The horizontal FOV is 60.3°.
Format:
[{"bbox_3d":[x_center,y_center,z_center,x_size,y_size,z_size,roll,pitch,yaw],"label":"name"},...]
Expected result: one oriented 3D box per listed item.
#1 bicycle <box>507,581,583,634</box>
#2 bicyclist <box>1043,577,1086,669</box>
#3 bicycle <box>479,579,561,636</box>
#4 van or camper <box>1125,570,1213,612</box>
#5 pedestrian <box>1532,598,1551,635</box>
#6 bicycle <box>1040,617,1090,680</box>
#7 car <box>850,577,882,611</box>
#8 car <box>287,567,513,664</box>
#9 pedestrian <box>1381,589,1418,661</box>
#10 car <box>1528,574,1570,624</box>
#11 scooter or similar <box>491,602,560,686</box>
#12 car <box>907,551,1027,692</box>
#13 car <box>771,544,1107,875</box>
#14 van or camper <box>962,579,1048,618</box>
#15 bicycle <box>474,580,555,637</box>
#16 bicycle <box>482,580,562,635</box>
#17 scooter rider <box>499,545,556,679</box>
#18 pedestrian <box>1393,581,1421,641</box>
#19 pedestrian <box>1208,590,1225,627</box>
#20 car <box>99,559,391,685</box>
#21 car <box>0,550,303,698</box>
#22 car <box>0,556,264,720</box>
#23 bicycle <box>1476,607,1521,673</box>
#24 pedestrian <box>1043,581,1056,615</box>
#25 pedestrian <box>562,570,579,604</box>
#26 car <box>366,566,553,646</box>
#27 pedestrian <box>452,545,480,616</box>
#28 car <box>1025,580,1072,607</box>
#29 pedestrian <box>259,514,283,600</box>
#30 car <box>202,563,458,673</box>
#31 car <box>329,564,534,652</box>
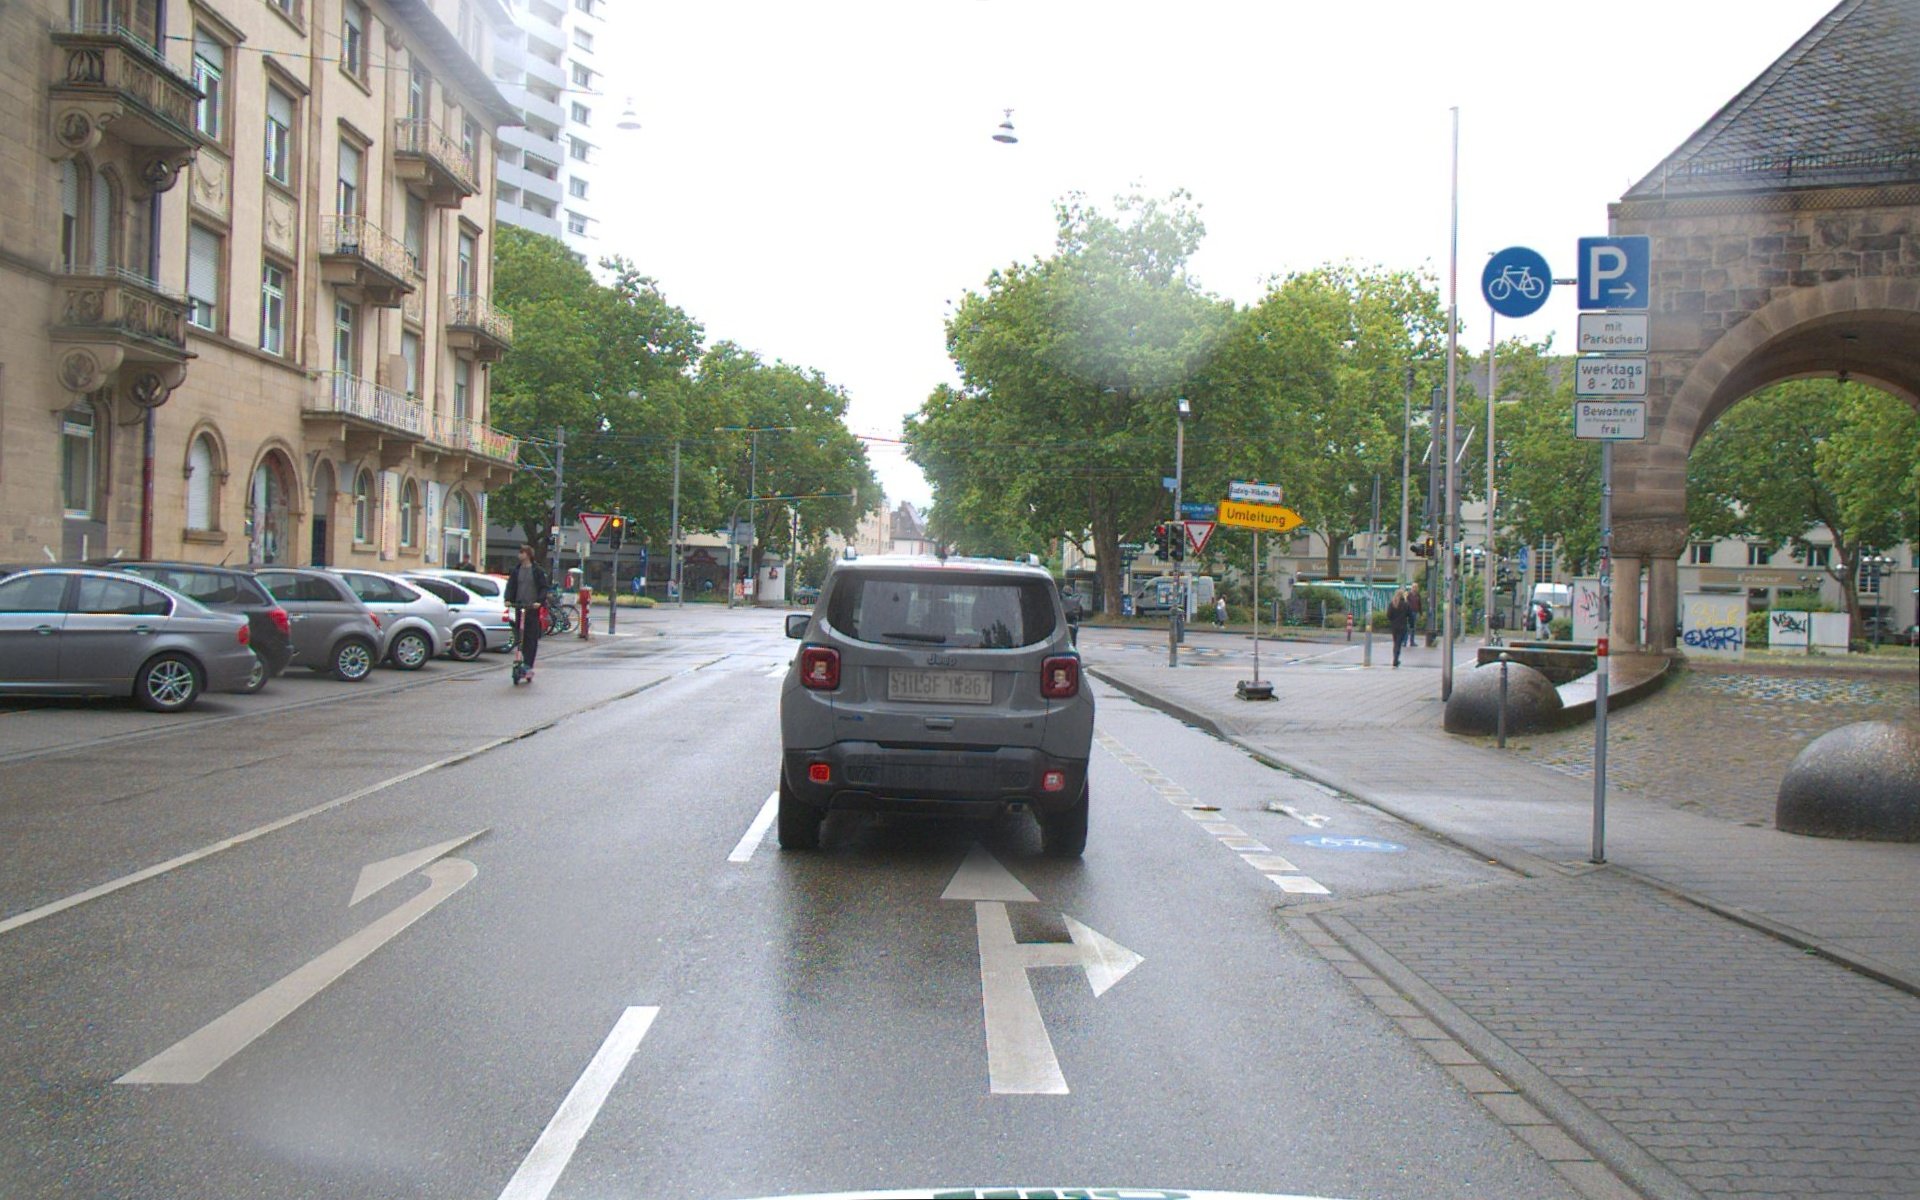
[{"bbox_3d":[-10.450,0.185,41.666,1.728,1.288,0.608,1,0,-2],"label":"bicycle"},{"bbox_3d":[1.886,0.403,29.940,0.673,1.645,0.883,0,0,-2],"label":"bicyclist"},{"bbox_3d":[-10.390,0.175,39.076,1.774,1.288,0.498,1,0,-2],"label":"bicycle"},{"bbox_3d":[12.796,-0.566,101.437,5.149,2.355,2.091,2,1,3],"label":"van or camper"},{"bbox_3d":[25.092,0.715,71.367,0.660,1.581,0.761,2,-1,28],"label":"pedestrian"},{"bbox_3d":[1.882,0.851,30.009,0.678,1.039,2.657,0,1,-1],"label":"bicycle"},{"bbox_3d":[-5.216,-0.350,91.214,1.687,1.769,3.727,1,1,-4],"label":"car"},{"bbox_3d":[-9.776,0.262,28.944,3.370,1.585,1.682,1,1,-40],"label":"car"},{"bbox_3d":[10.345,0.575,38.916,0.767,1.674,0.655,1,0,22],"label":"pedestrian"},{"bbox_3d":[32.259,-0.067,90.513,1.868,2.600,4.785,1,0,23],"label":"car"},{"bbox_3d":[-6.441,0.634,24.573,0.686,1.185,1.384,1,1,-3],"label":"scooter or similar"},{"bbox_3d":[0.086,0.298,26.508,1.734,2.049,4.000,1,1,-1],"label":"car"},{"bbox_3d":[-0.147,0.550,10.557,1.739,1.716,3.847,0,1,-1],"label":"car"},{"bbox_3d":[3.559,-0.158,131.647,6.399,2.963,2.492,1,0,26],"label":"van or camper"},{"bbox_3d":[-10.369,0.190,38.529,1.728,1.288,0.522,1,0,-2],"label":"bicycle"},{"bbox_3d":[-10.522,0.174,39.758,1.774,1.288,0.498,1,0,-2],"label":"bicycle"},{"bbox_3d":[-6.440,0.175,24.644,0.696,1.969,0.503,1,0,-3],"label":"scooter rider"},{"bbox_3d":[13.484,0.326,49.917,0.769,1.790,0.946,1,0,14],"label":"pedestrian"},{"bbox_3d":[11.721,0.385,75.603,0.600,1.631,0.494,1,0,24],"label":"pedestrian"},{"bbox_3d":[-9.799,0.285,22.744,3.370,1.585,1.629,1,1,-40],"label":"car"},{"bbox_3d":[-9.887,0.264,19.693,3.520,1.626,1.583,1,1,-40],"label":"car"},{"bbox_3d":[-9.626,0.349,16.695,4.512,1.572,1.662,1,1,-44],"label":"car"},{"bbox_3d":[10.201,0.732,31.378,0.322,1.174,2.076,1,0,5],"label":"bicycle"},{"bbox_3d":[5.367,-0.109,99.251,0.637,2.049,0.483,1,0,12],"label":"pedestrian"},{"bbox_3d":[-21.191,-0.708,89.932,0.677,1.858,0.621,1,0,15],"label":"pedestrian"},{"bbox_3d":[-10.490,0.137,34.748,3.370,1.585,1.682,1,1,-40],"label":"car"},{"bbox_3d":[-14.349,-0.572,48.042,0.556,2.049,0.654,1,0,-1],"label":"pedestrian"},{"bbox_3d":[6.738,-0.486,126.092,3.363,2.049,1.549,1,0,13],"label":"car"},{"bbox_3d":[-14.983,-0.925,35.946,0.359,1.854,0.347,1,0,-3],"label":"pedestrian"},{"bbox_3d":[-9.781,0.271,25.752,3.370,1.585,1.682,1,1,-40],"label":"car"},{"bbox_3d":[-10.131,0.152,31.767,3.370,1.585,1.682,1,1,-40],"label":"car"}]
